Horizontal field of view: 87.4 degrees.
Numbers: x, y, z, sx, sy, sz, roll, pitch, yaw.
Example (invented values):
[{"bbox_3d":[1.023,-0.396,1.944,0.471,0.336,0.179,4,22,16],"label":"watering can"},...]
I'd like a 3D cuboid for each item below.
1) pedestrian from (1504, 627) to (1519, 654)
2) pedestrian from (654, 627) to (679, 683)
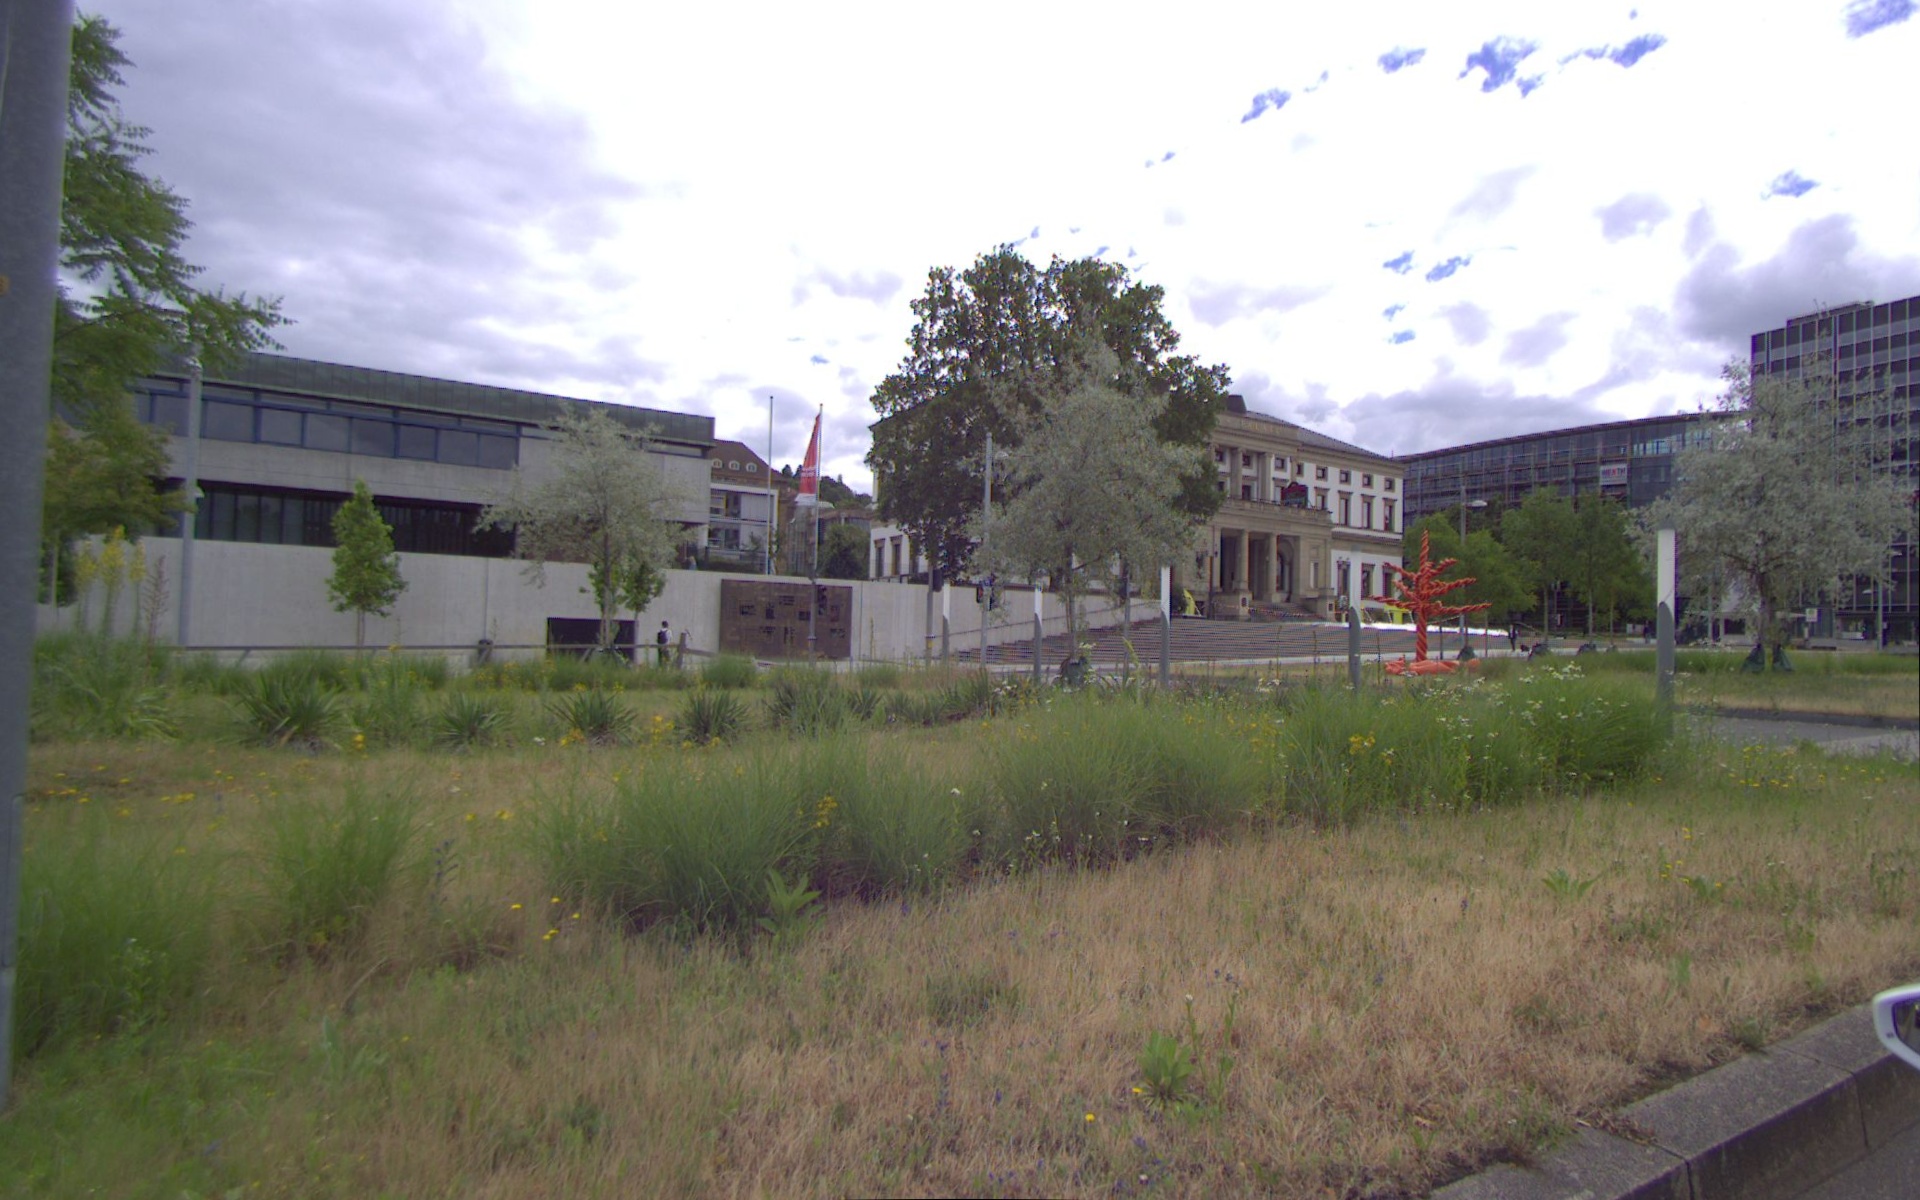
[{"bbox_3d":[33.668,2.478,61.343,0.643,1.671,0.521,2,0,-31],"label":"pedestrian"},{"bbox_3d":[-9.433,1.759,32.309,0.655,1.756,0.537,1,-1,-30],"label":"pedestrian"}]
